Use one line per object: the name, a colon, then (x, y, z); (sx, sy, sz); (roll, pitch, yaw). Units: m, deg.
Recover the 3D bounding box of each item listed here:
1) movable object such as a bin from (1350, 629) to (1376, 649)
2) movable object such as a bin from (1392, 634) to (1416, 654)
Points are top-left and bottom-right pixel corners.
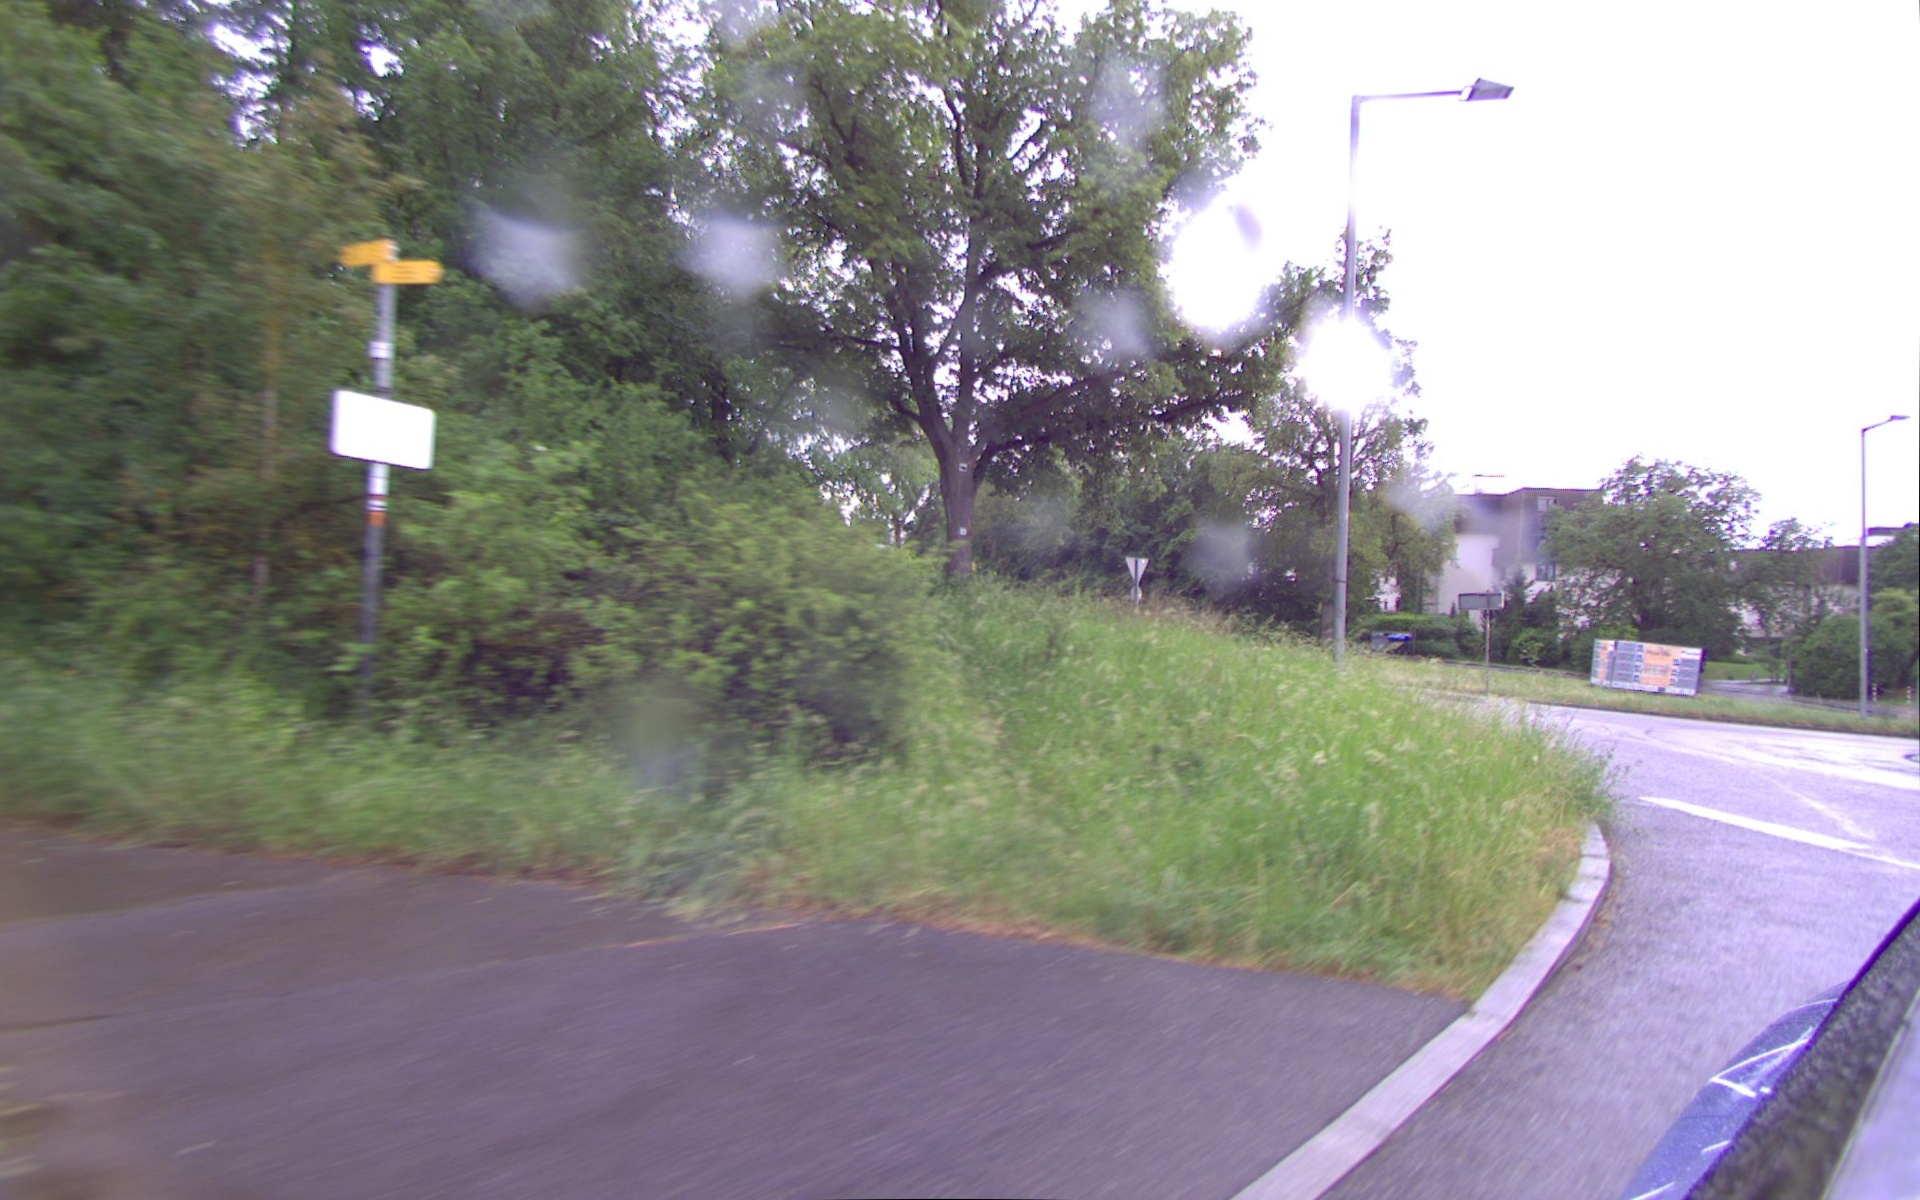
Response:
movable object such as a bin: (31.607, 3.059, 79.307); (1.172, 1.455, 1.431); (4, -1, -19)
movable object such as a bin: (33.291, 3.287, 75.869); (1.172, 1.455, 1.077); (2, 0, -19)
